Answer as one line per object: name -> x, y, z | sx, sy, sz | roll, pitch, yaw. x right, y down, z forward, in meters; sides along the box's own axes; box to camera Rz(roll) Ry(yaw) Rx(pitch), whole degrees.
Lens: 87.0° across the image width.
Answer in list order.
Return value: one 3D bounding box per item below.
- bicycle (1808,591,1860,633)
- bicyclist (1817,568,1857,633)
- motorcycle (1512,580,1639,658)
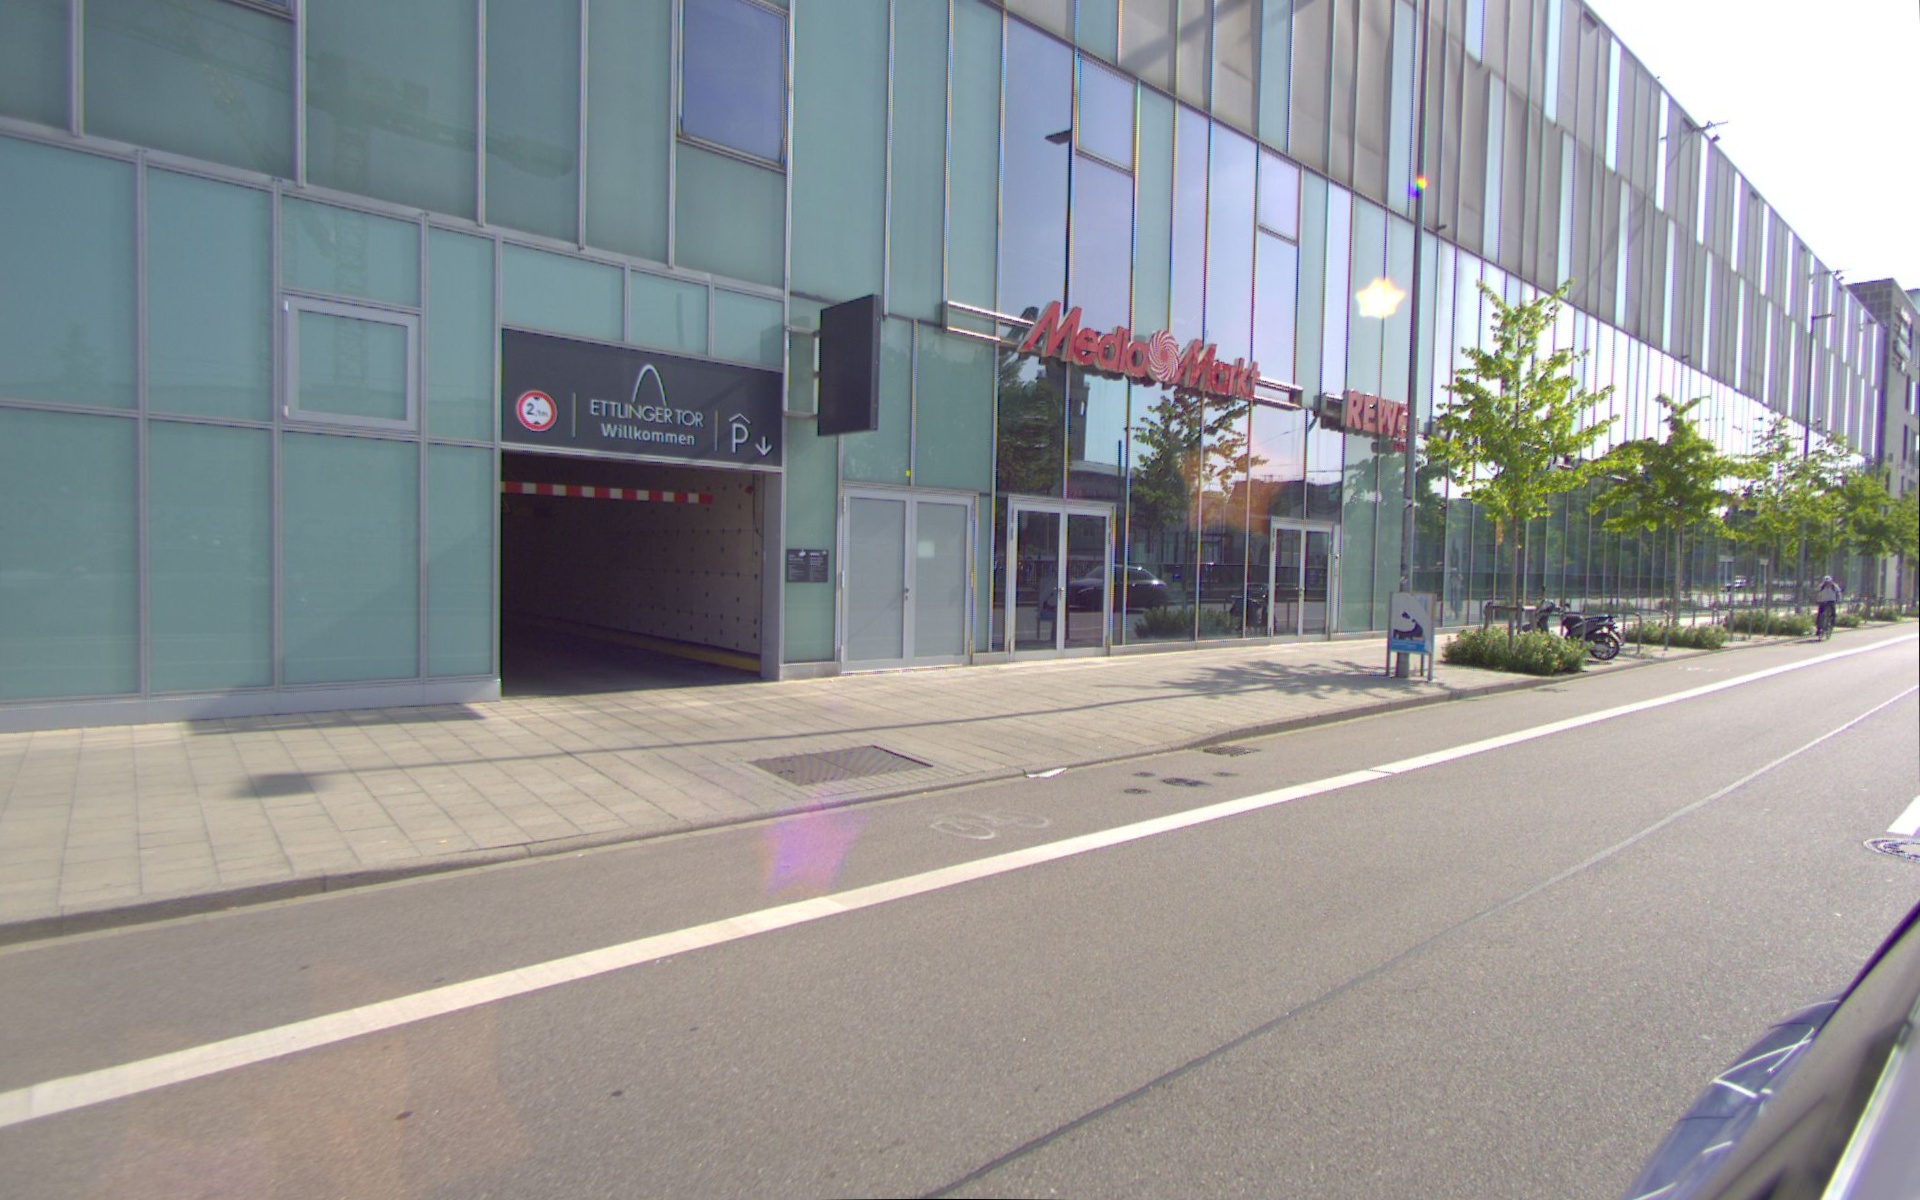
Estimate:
bicycle -> 24.345, 0.321, 28.179 | 2.013, 1.131, 0.663 | 0, 2, -38
bicyclist -> 24.501, -0.002, 28.286 | 0.755, 1.770, 0.653 | 0, 2, -37
motorcycle -> 11.854, 0.333, 19.524 | 1.967, 1.366, 0.855 | 3, 3, 40
